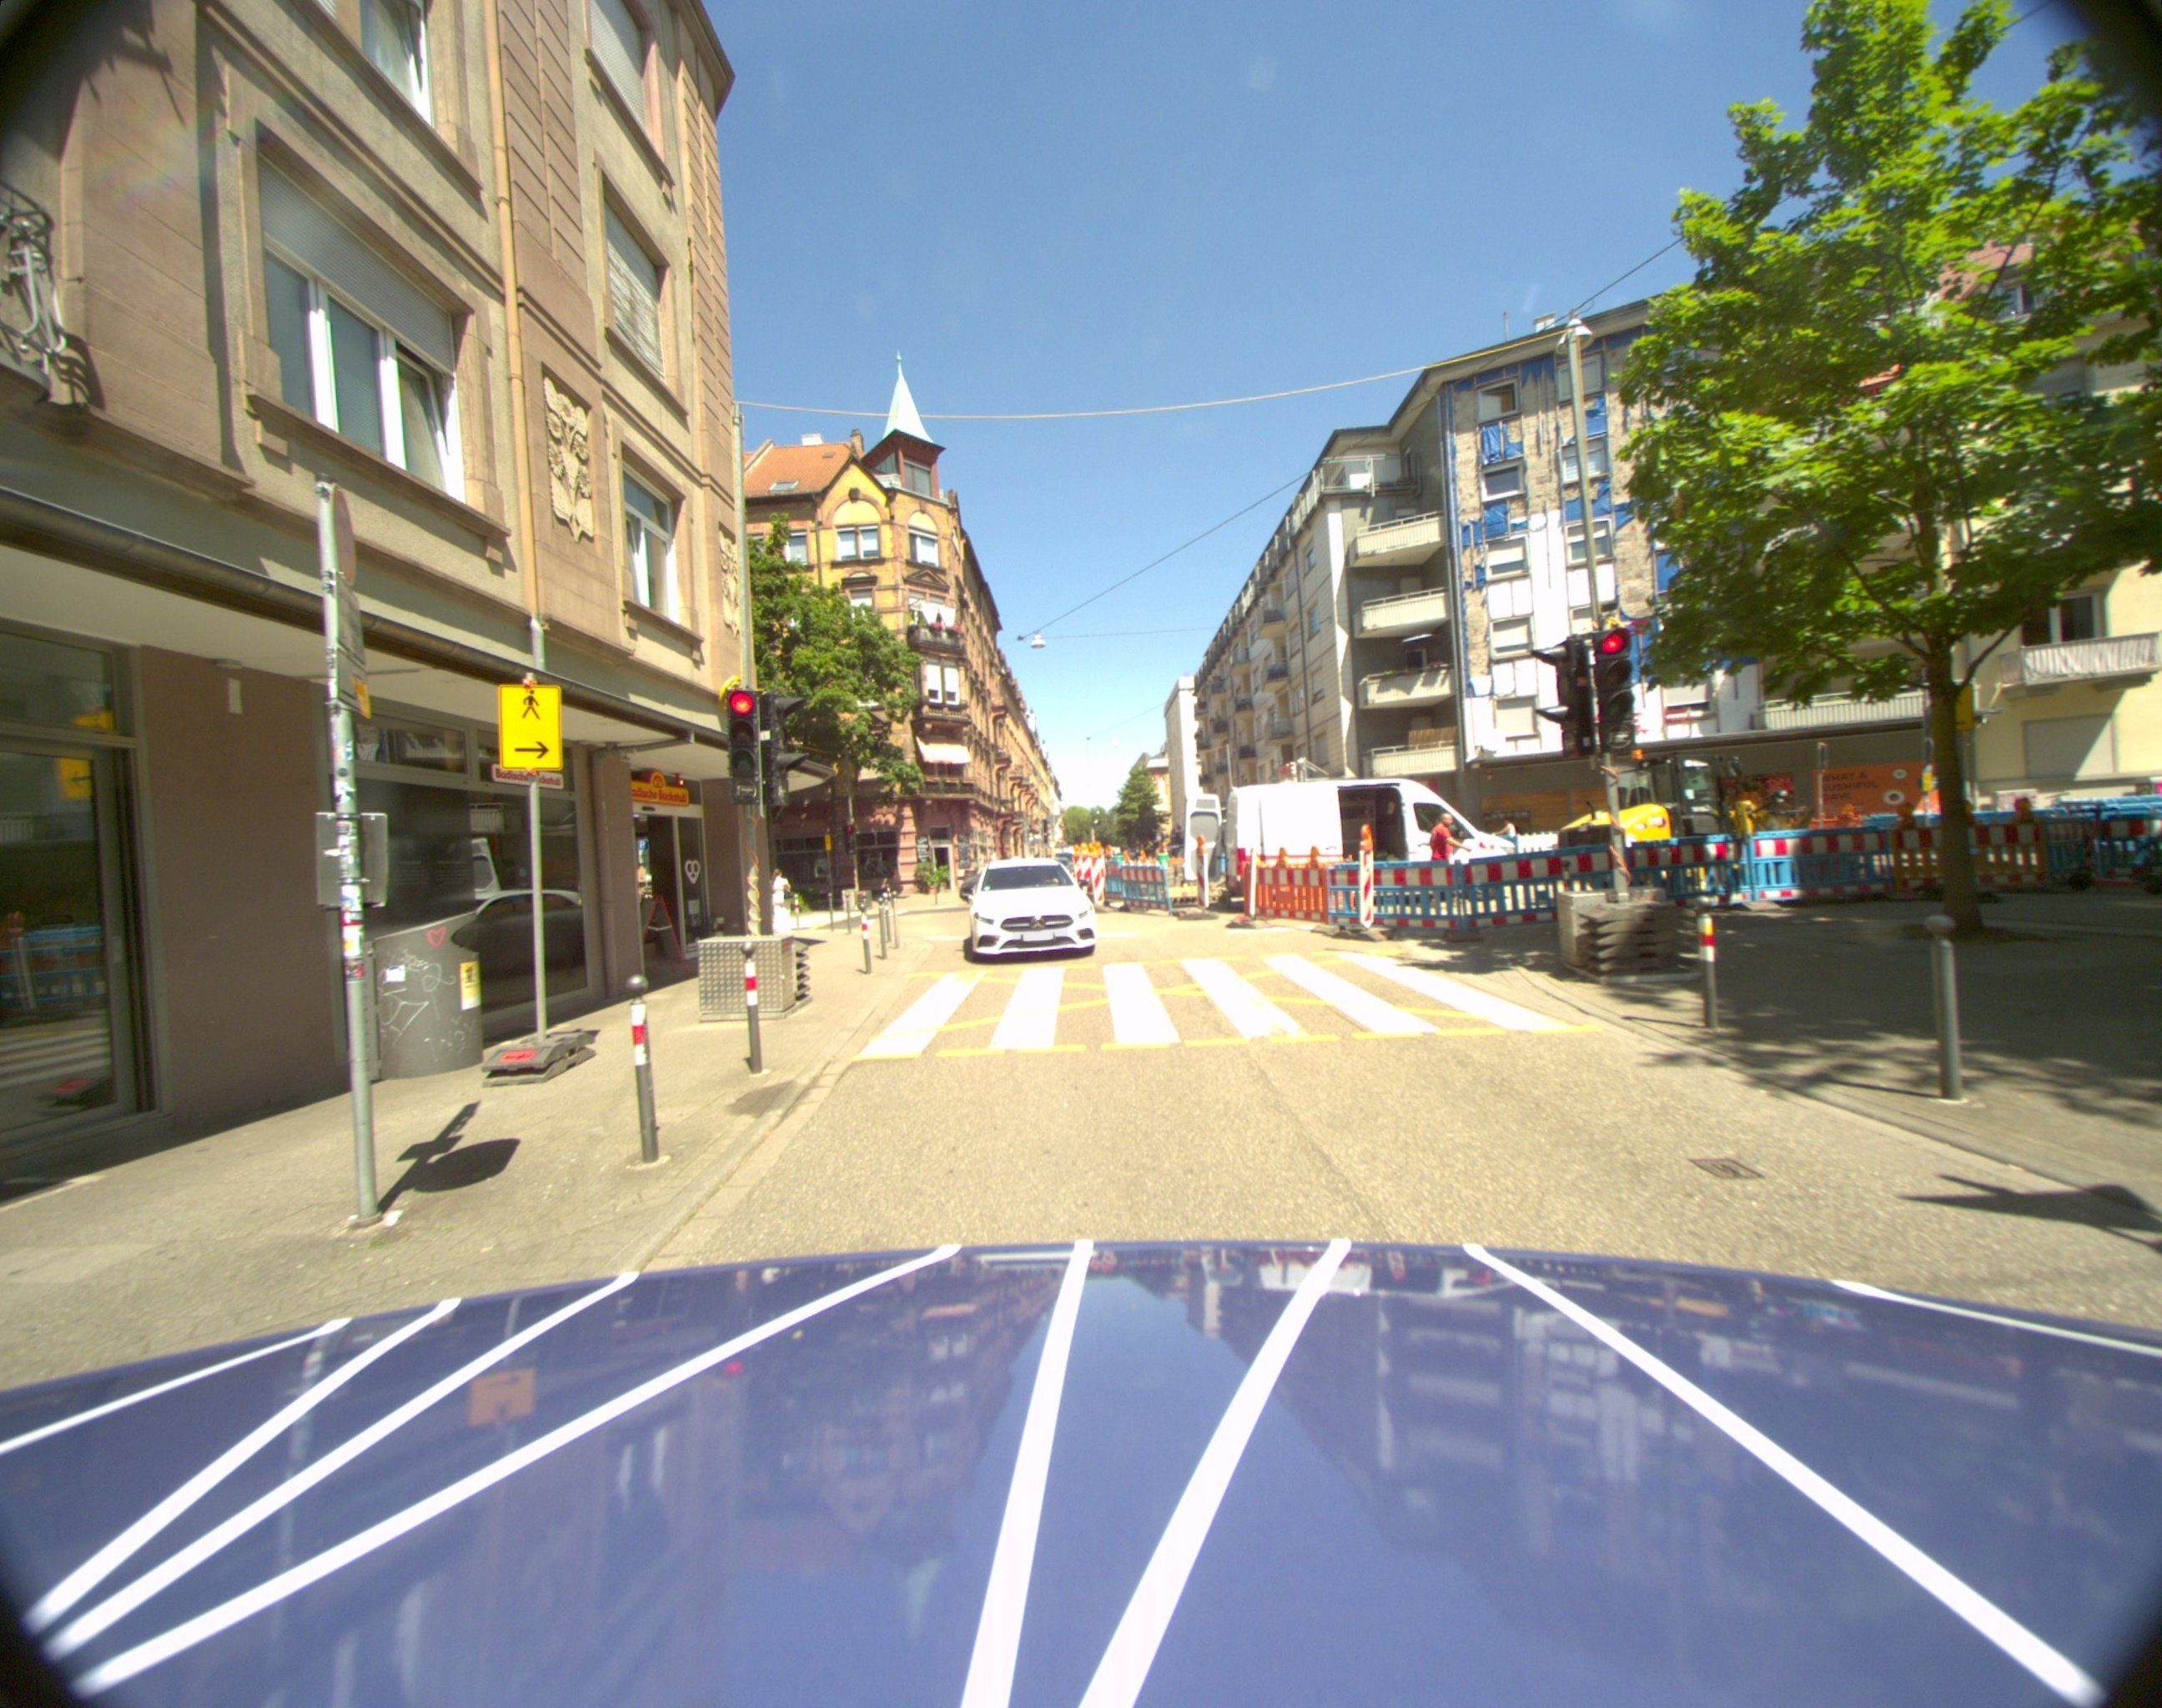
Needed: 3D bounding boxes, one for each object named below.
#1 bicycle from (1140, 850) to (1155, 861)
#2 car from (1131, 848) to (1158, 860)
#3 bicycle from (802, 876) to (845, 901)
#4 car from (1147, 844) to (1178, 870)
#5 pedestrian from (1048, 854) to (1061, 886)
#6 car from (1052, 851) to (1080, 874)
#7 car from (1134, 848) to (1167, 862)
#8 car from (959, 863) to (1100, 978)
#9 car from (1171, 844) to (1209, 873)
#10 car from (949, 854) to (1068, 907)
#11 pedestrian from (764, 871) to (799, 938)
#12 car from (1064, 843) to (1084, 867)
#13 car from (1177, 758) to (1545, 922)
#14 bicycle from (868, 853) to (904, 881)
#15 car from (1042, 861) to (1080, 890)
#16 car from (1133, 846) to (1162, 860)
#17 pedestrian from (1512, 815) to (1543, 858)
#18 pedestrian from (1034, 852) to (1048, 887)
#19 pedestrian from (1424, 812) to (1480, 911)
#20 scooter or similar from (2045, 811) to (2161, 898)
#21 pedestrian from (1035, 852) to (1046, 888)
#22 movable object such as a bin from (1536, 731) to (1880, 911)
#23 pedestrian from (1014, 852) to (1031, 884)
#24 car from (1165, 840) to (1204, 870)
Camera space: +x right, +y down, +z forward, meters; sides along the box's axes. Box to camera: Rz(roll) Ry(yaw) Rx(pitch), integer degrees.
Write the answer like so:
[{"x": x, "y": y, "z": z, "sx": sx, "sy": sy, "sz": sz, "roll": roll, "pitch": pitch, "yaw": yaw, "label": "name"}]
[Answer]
[{"x": 7.385, "y": 0.178, "z": 84.181, "sx": 1.609, "sy": 1.084, "sz": 0.371, "roll": -6, "pitch": 0, "yaw": 6, "label": "bicycle"}, {"x": 9.418, "y": -0.043, "z": 113.116, "sx": 3.885, "sy": 1.487, "sz": 1.652, "roll": -4, "pitch": 0, "yaw": 0, "label": "car"}, {"x": -11.628, "y": 1.559, "z": 34.349, "sx": 1.695, "sy": 1.002, "sz": 0.522, "roll": -4, "pitch": 1, "yaw": 1, "label": "bicycle"}, {"x": 6.392, "y": 0.243, "z": 59.863, "sx": 1.793, "sy": 1.818, "sz": 4.900, "roll": -5, "pitch": 0, "yaw": 1, "label": "car"}, {"x": -1.261, "y": 0.754, "z": 36.583, "sx": 0.494, "sy": 1.534, "sz": 0.436, "roll": -2, "pitch": 1, "yaw": 7, "label": "pedestrian"}, {"x": -0.975, "y": 0.545, "z": 50.840, "sx": 1.730, "sy": 1.424, "sz": 4.485, "roll": -3, "pitch": 0, "yaw": -1, "label": "car"}, {"x": 8.662, "y": 0.137, "z": 95.152, "sx": 3.885, "sy": 1.520, "sz": 1.652, "roll": -4, "pitch": 0, "yaw": 0, "label": "car"}, {"x": -0.973, "y": 0.909, "z": 12.289, "sx": 1.815, "sy": 1.417, "sz": 4.239, "roll": -3, "pitch": 0, "yaw": -8, "label": "car"}, {"x": 6.674, "y": 0.264, "z": 46.979, "sx": 1.674, "sy": 1.516, "sz": 4.464, "roll": -5, "pitch": 0, "yaw": 1, "label": "car"}, {"x": -2.564, "y": 0.952, "z": 27.659, "sx": 1.777, "sy": 1.460, "sz": 4.006, "roll": -5, "pitch": 1, "yaw": 44, "label": "car"}, {"x": -7.557, "y": 1.274, "z": 19.167, "sx": 0.703, "sy": 1.635, "sz": 0.423, "roll": -2, "pitch": -3, "yaw": -7, "label": "pedestrian"}, {"x": -0.874, "y": 0.140, "z": 93.985, "sx": 2.067, "sy": 2.687, "sz": 5.038, "roll": -6, "pitch": 0, "yaw": 1, "label": "car"}, {"x": 5.498, "y": -0.278, "z": 15.781, "sx": 6.637, "sy": 2.736, "sz": 2.379, "roll": -4, "pitch": 1, "yaw": 2, "label": "car"}, {"x": -8.932, "y": 0.591, "z": 34.783, "sx": 1.425, "sy": 1.145, "sz": 0.510, "roll": -4, "pitch": 1, "yaw": 3, "label": "bicycle"}, {"x": -1.114, "y": 1.213, "z": 43.535, "sx": 1.630, "sy": 1.424, "sz": 3.661, "roll": -3, "pitch": 0, "yaw": 6, "label": "car"}, {"x": 9.438, "y": -0.153, "z": 107.655, "sx": 3.885, "sy": 1.737, "sz": 1.652, "roll": -4, "pitch": 0, "yaw": 0, "label": "car"}, {"x": 14.724, "y": -0.575, "z": 25.043, "sx": 0.526, "sy": 1.332, "sz": 0.657, "roll": -6, "pitch": 1, "yaw": 1, "label": "pedestrian"}, {"x": -1.771, "y": 0.681, "z": 33.815, "sx": 0.460, "sy": 1.551, "sz": 0.479, "roll": -4, "pitch": 1, "yaw": 7, "label": "pedestrian"}, {"x": 6.877, "y": 0.132, "z": 14.116, "sx": 0.526, "sy": 1.744, "sz": 0.769, "roll": -6, "pitch": 1, "yaw": 1, "label": "pedestrian"}, {"x": 13.957, "y": -0.001, "z": 10.046, "sx": 0.525, "sy": 1.099, "sz": 1.473, "roll": -3, "pitch": -1, "yaw": 2, "label": "scooter or similar"}, {"x": -1.856, "y": 0.741, "z": 35.103, "sx": 0.333, "sy": 1.666, "sz": 0.402, "roll": -4, "pitch": 1, "yaw": 7, "label": "pedestrian"}, {"x": 10.682, "y": -0.554, "z": 13.109, "sx": 4.558, "sy": 2.643, "sz": 1.953, "roll": -3, "pitch": 0, "yaw": -9, "label": "movable object such as a bin"}, {"x": -3.252, "y": 0.768, "z": 42.008, "sx": 0.478, "sy": 1.723, "sz": 0.872, "roll": -4, "pitch": 2, "yaw": 20, "label": "pedestrian"}, {"x": 7.207, "y": 0.073, "z": 53.470, "sx": 1.793, "sy": 1.801, "sz": 4.698, "roll": -5, "pitch": 0, "yaw": -2, "label": "car"}]
